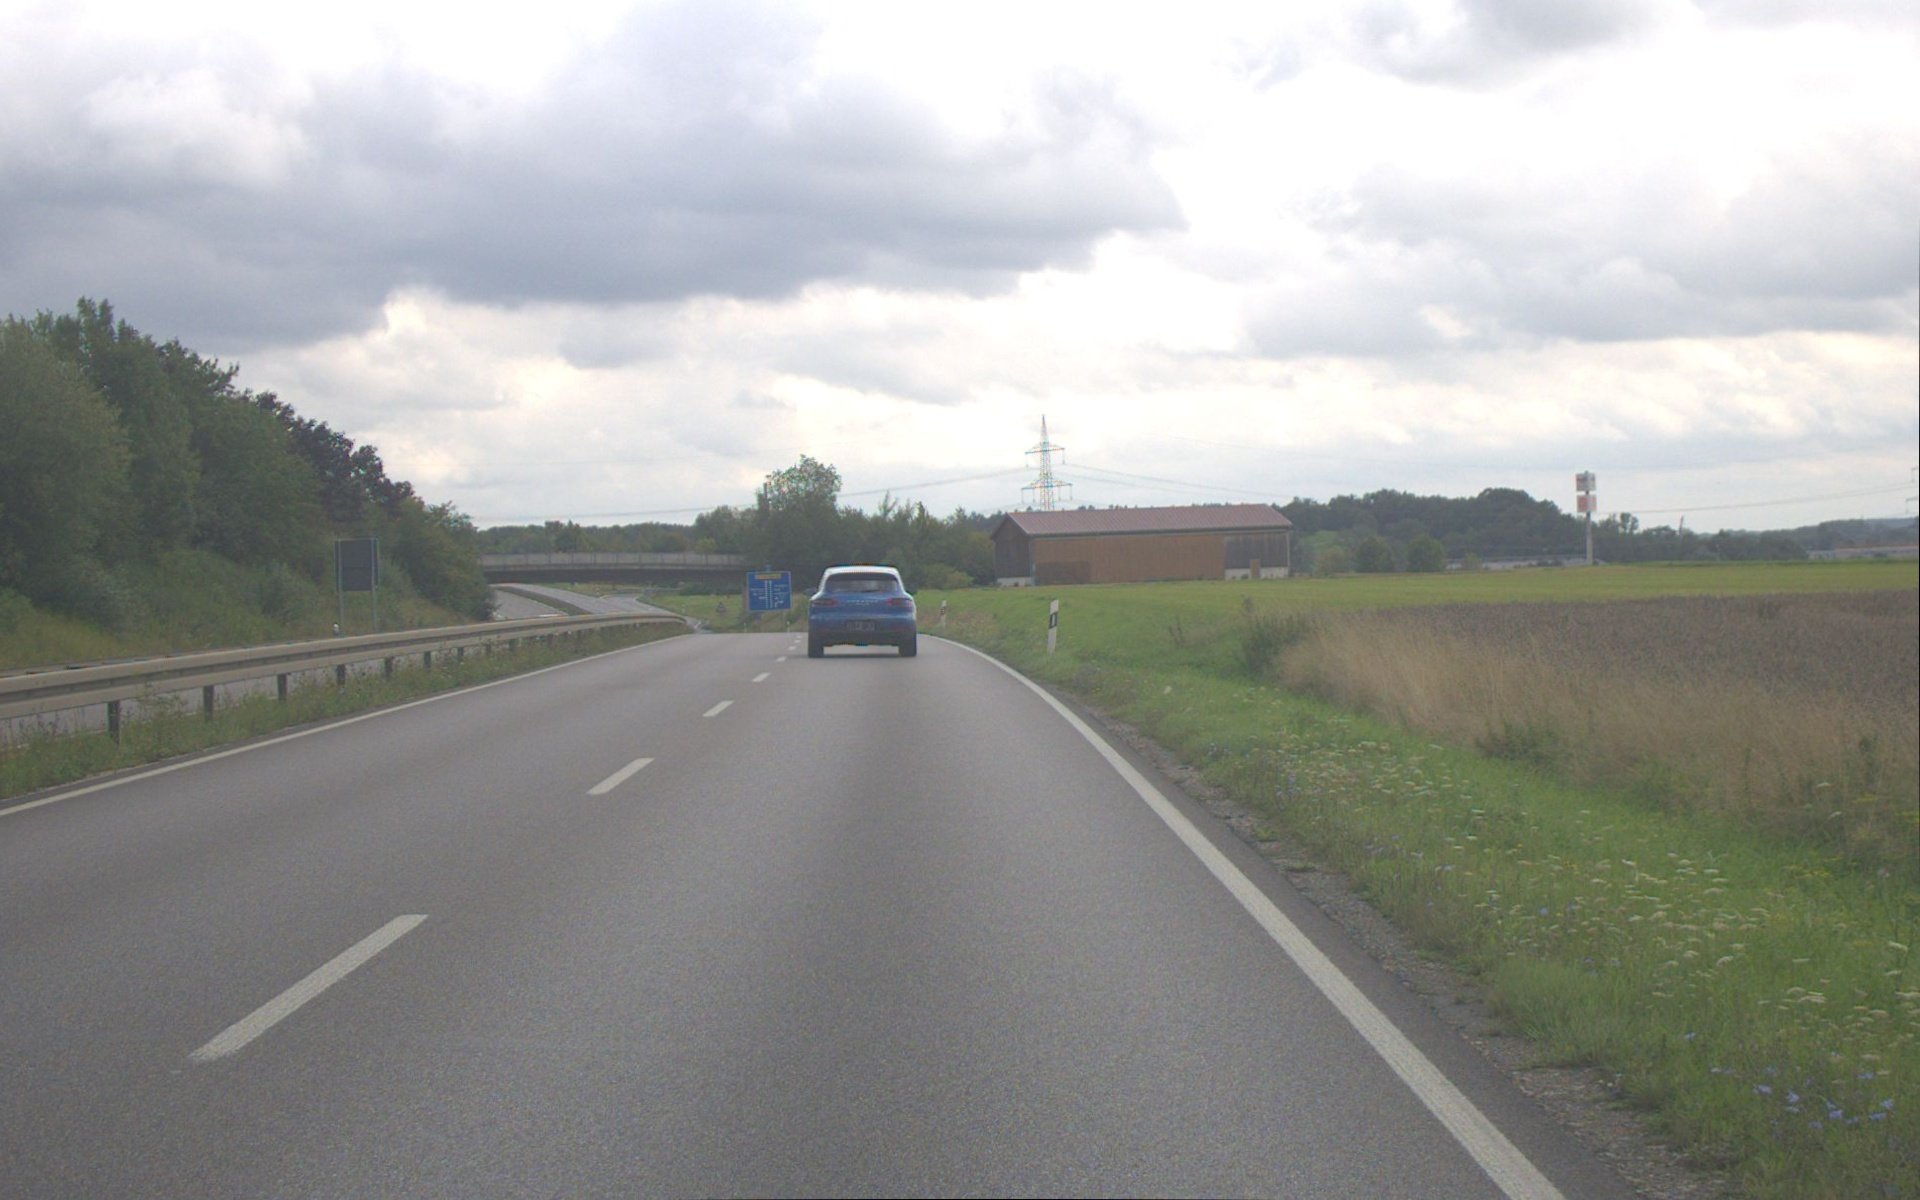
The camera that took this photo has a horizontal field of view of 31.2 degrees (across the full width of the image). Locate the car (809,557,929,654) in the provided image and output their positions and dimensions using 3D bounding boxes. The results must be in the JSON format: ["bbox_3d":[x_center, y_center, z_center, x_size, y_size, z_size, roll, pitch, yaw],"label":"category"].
[{"bbox_3d":[-1.602,0.074,62.021,2.033,1.655,4.543,0,1,0],"label":"car"}]
